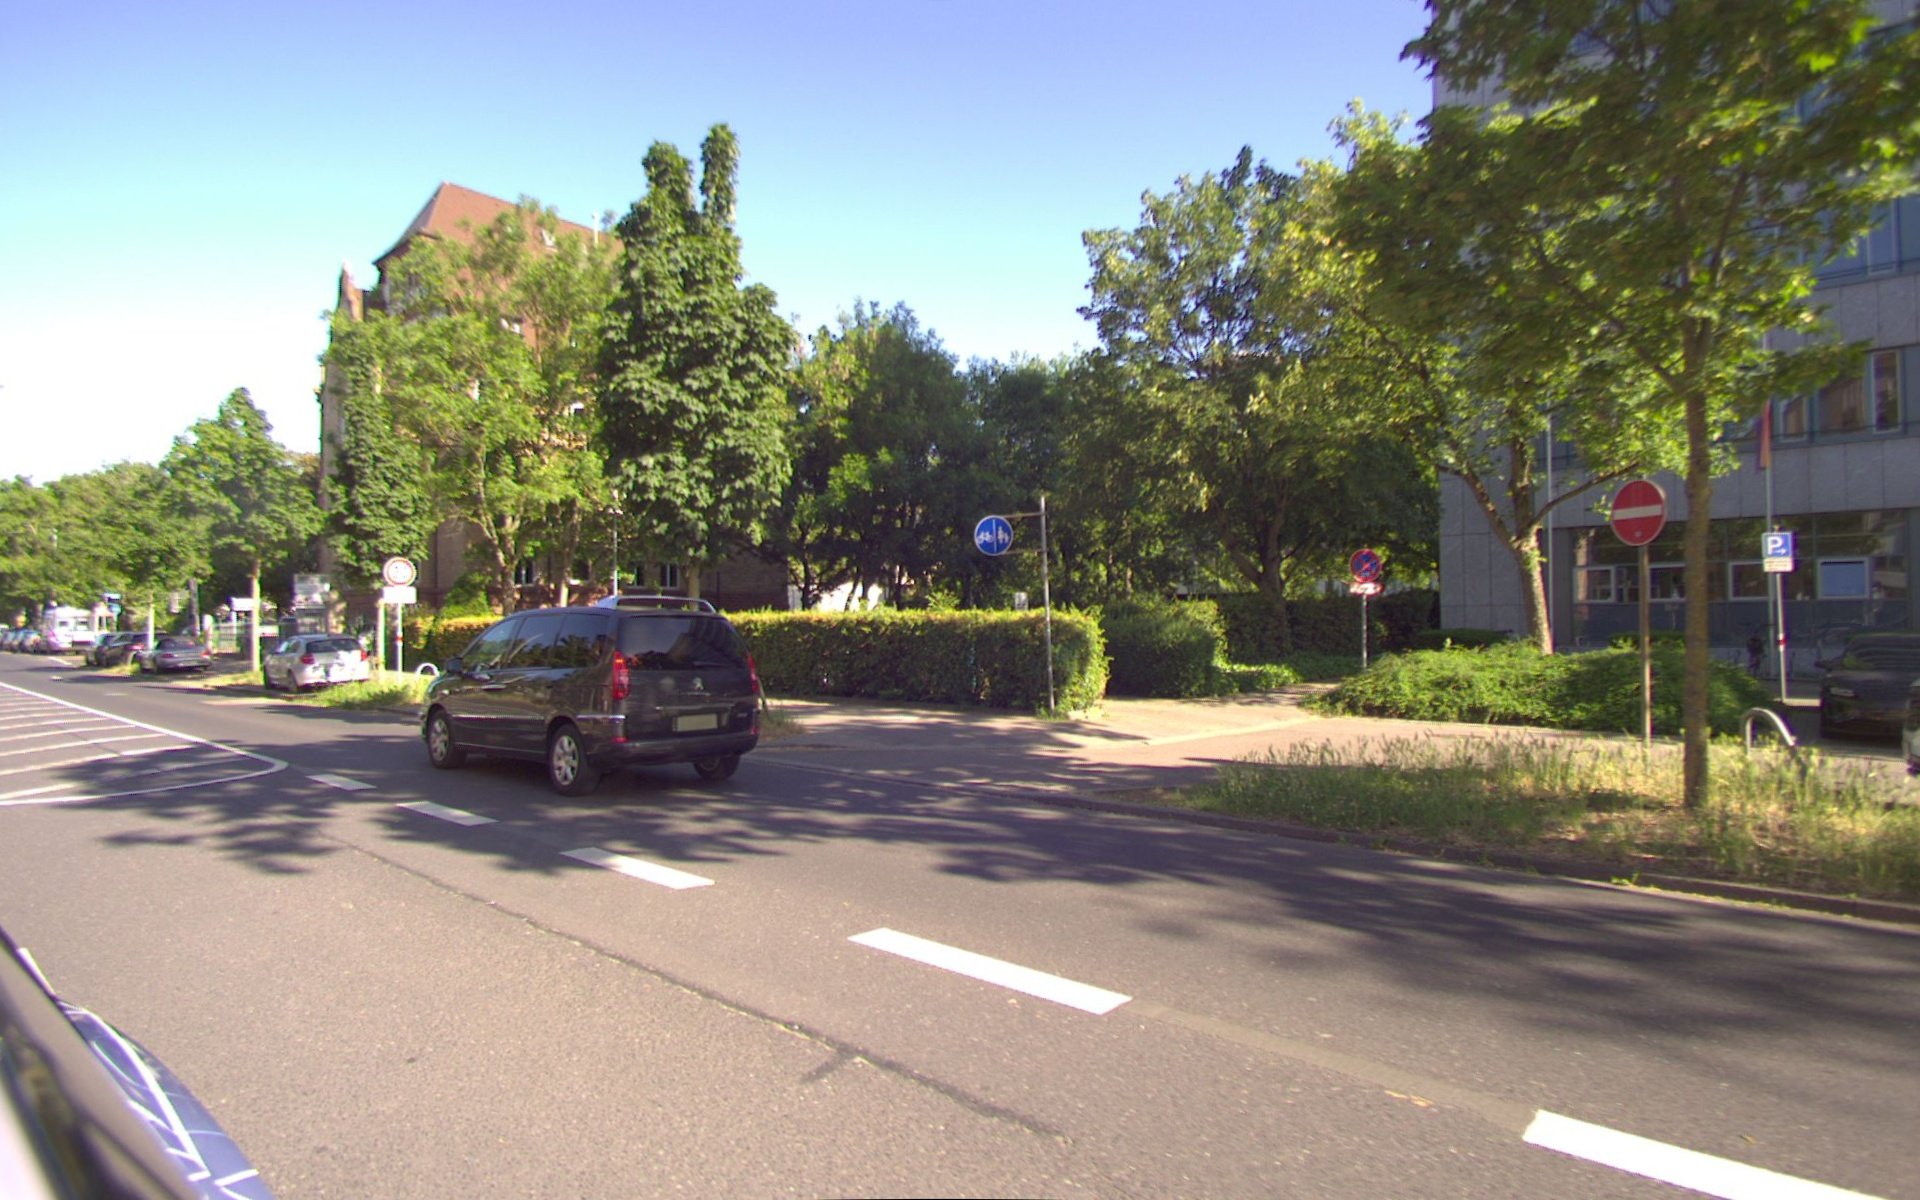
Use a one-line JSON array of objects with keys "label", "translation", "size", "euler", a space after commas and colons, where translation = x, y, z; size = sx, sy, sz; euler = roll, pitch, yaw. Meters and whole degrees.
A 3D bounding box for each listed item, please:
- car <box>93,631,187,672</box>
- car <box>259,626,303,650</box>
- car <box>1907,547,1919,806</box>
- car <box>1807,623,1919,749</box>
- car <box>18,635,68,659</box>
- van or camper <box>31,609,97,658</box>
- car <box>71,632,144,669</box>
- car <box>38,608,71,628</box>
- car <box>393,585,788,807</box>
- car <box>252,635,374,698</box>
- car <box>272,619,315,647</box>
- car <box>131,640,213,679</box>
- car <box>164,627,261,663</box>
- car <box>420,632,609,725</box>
[{"label": "car", "translation": [-33.516, 2.081, 41.328], "size": [4.697, 1.505, 1.839], "euler": [-2, 1, 37]}, {"label": "car", "translation": [-45.638, 2.560, 68.086], "size": [1.833, 1.524, 3.541], "euler": [2, -2, -24]}, {"label": "car", "translation": [9.461, 0.551, 6.149], "size": [5.190, 2.092, 1.961], "euler": [-2, -4, 39]}, {"label": "car", "translation": [13.686, 1.116, 14.400], "size": [4.615, 1.524, 2.010], "euler": [0, -2, -44]}, {"label": "car", "translation": [-57.701, 2.944, 63.669], "size": [4.659, 1.468, 1.676], "euler": [-2, -4, 40]}, {"label": "van or camper", "translation": [-53.420, 2.016, 60.304], "size": [6.085, 2.760, 2.193], "euler": [-2, -3, 41]}, {"label": "car", "translation": [-38.437, 2.247, 45.587], "size": [4.719, 1.438, 1.836], "euler": [-2, 1, 42]}, {"label": "car", "translation": [-70.164, 1.431, 78.407], "size": [3.957, 1.513, 1.448], "euler": [-2, -3, 42]}, {"label": "car", "translation": [-4.015, 0.899, 10.598], "size": [4.607, 1.839, 1.836], "euler": [-2, -4, 41]}, {"label": "car", "translation": [-16.536, 1.643, 25.799], "size": [4.192, 1.394, 1.669], "euler": [-2, 0, 44]}, {"label": "car", "translation": [-47.786, 2.352, 72.629], "size": [1.833, 1.928, 4.466], "euler": [2, -1, -24]}, {"label": "car", "translation": [-28.345, 2.101, 36.360], "size": [4.013, 1.265, 1.660], "euler": [-2, -1, 42]}, {"label": "car", "translation": [-41.632, 2.487, 56.479], "size": [1.977, 1.682, 4.134], "euler": [-4, 0, 8]}, {"label": "car", "translation": [-8.225, 1.360, 18.532], "size": [4.072, 1.470, 1.693], "euler": [-2, -2, 43]}]
